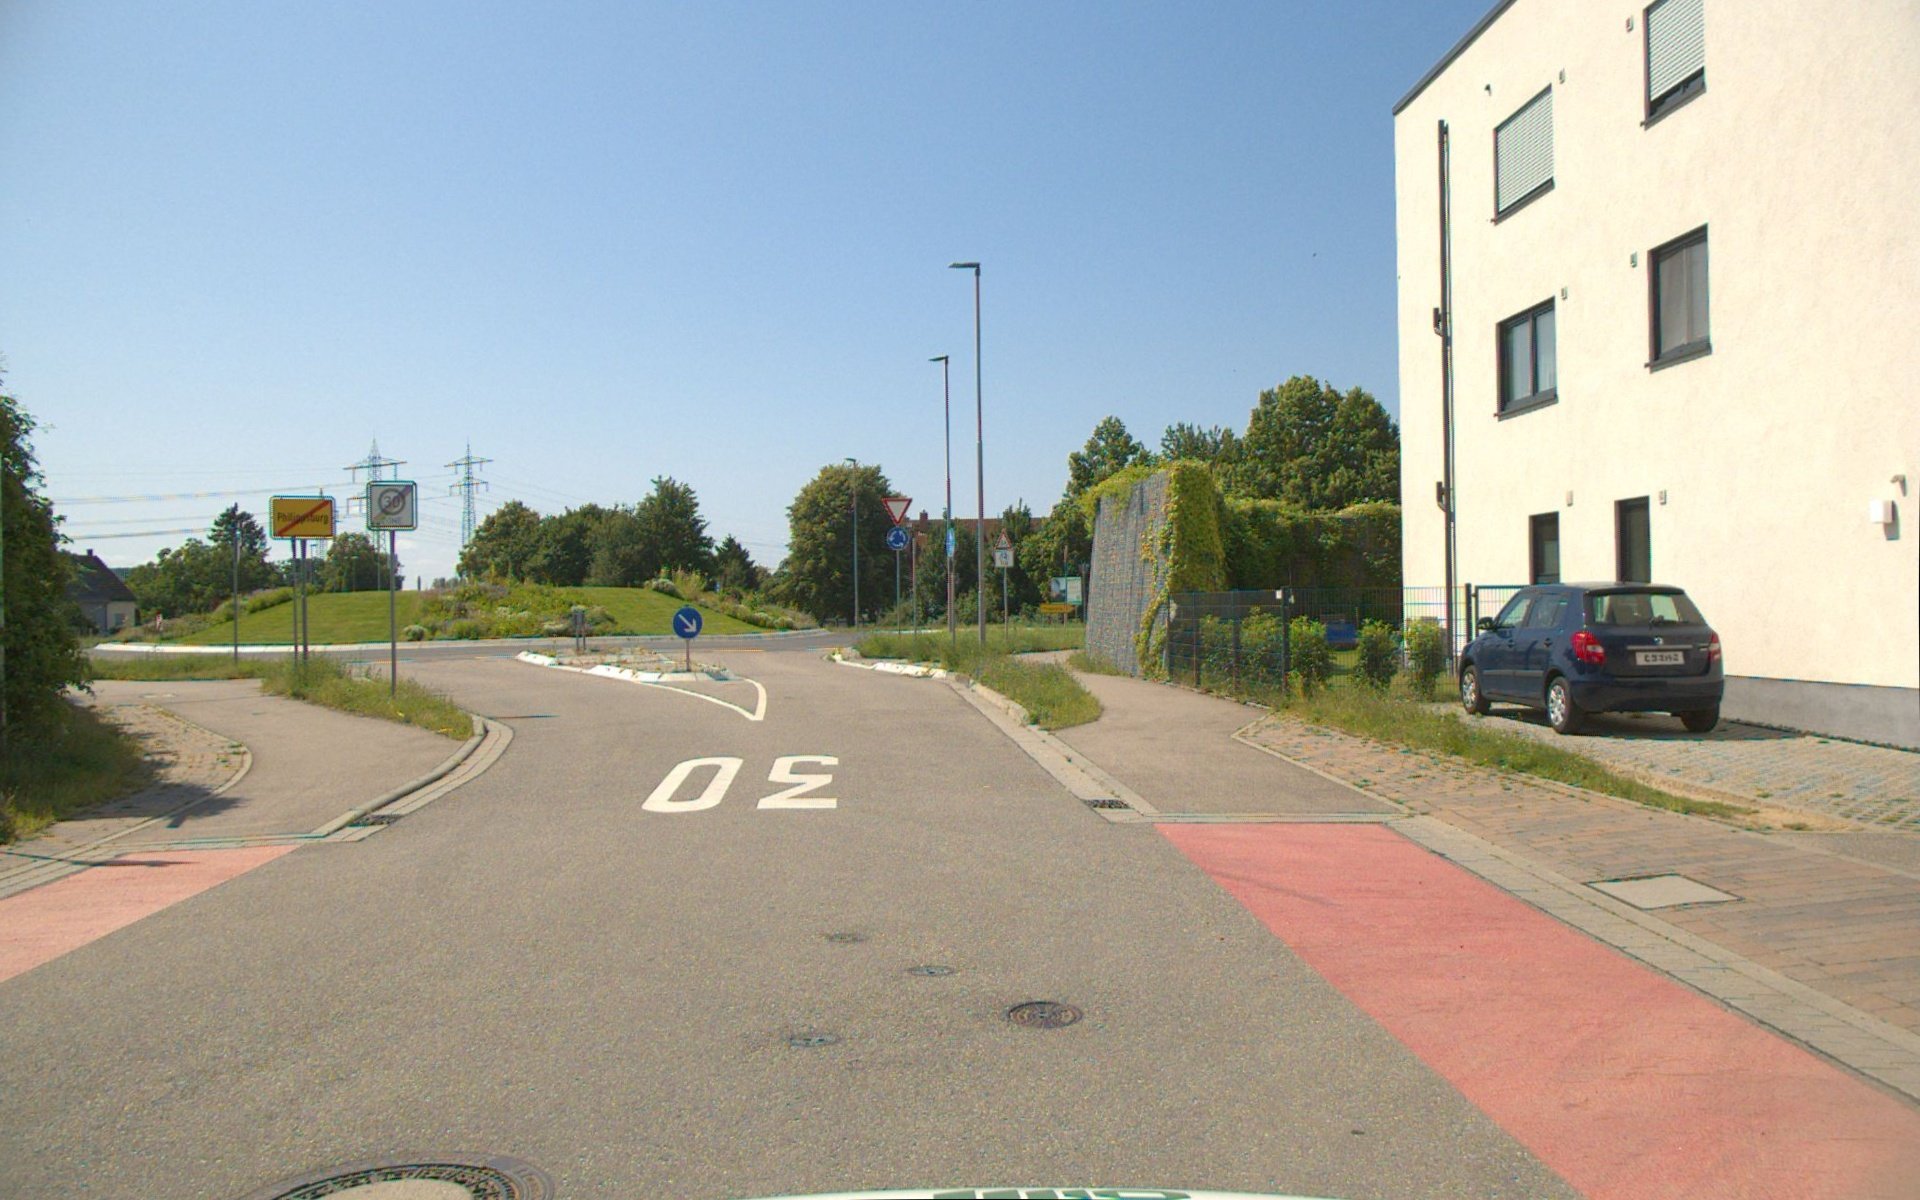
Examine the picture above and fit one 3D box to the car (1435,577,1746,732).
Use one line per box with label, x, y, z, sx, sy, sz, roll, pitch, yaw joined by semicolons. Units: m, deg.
car;6.711;0.509;18.106;1.644;1.495;4.114;0;1;-3
